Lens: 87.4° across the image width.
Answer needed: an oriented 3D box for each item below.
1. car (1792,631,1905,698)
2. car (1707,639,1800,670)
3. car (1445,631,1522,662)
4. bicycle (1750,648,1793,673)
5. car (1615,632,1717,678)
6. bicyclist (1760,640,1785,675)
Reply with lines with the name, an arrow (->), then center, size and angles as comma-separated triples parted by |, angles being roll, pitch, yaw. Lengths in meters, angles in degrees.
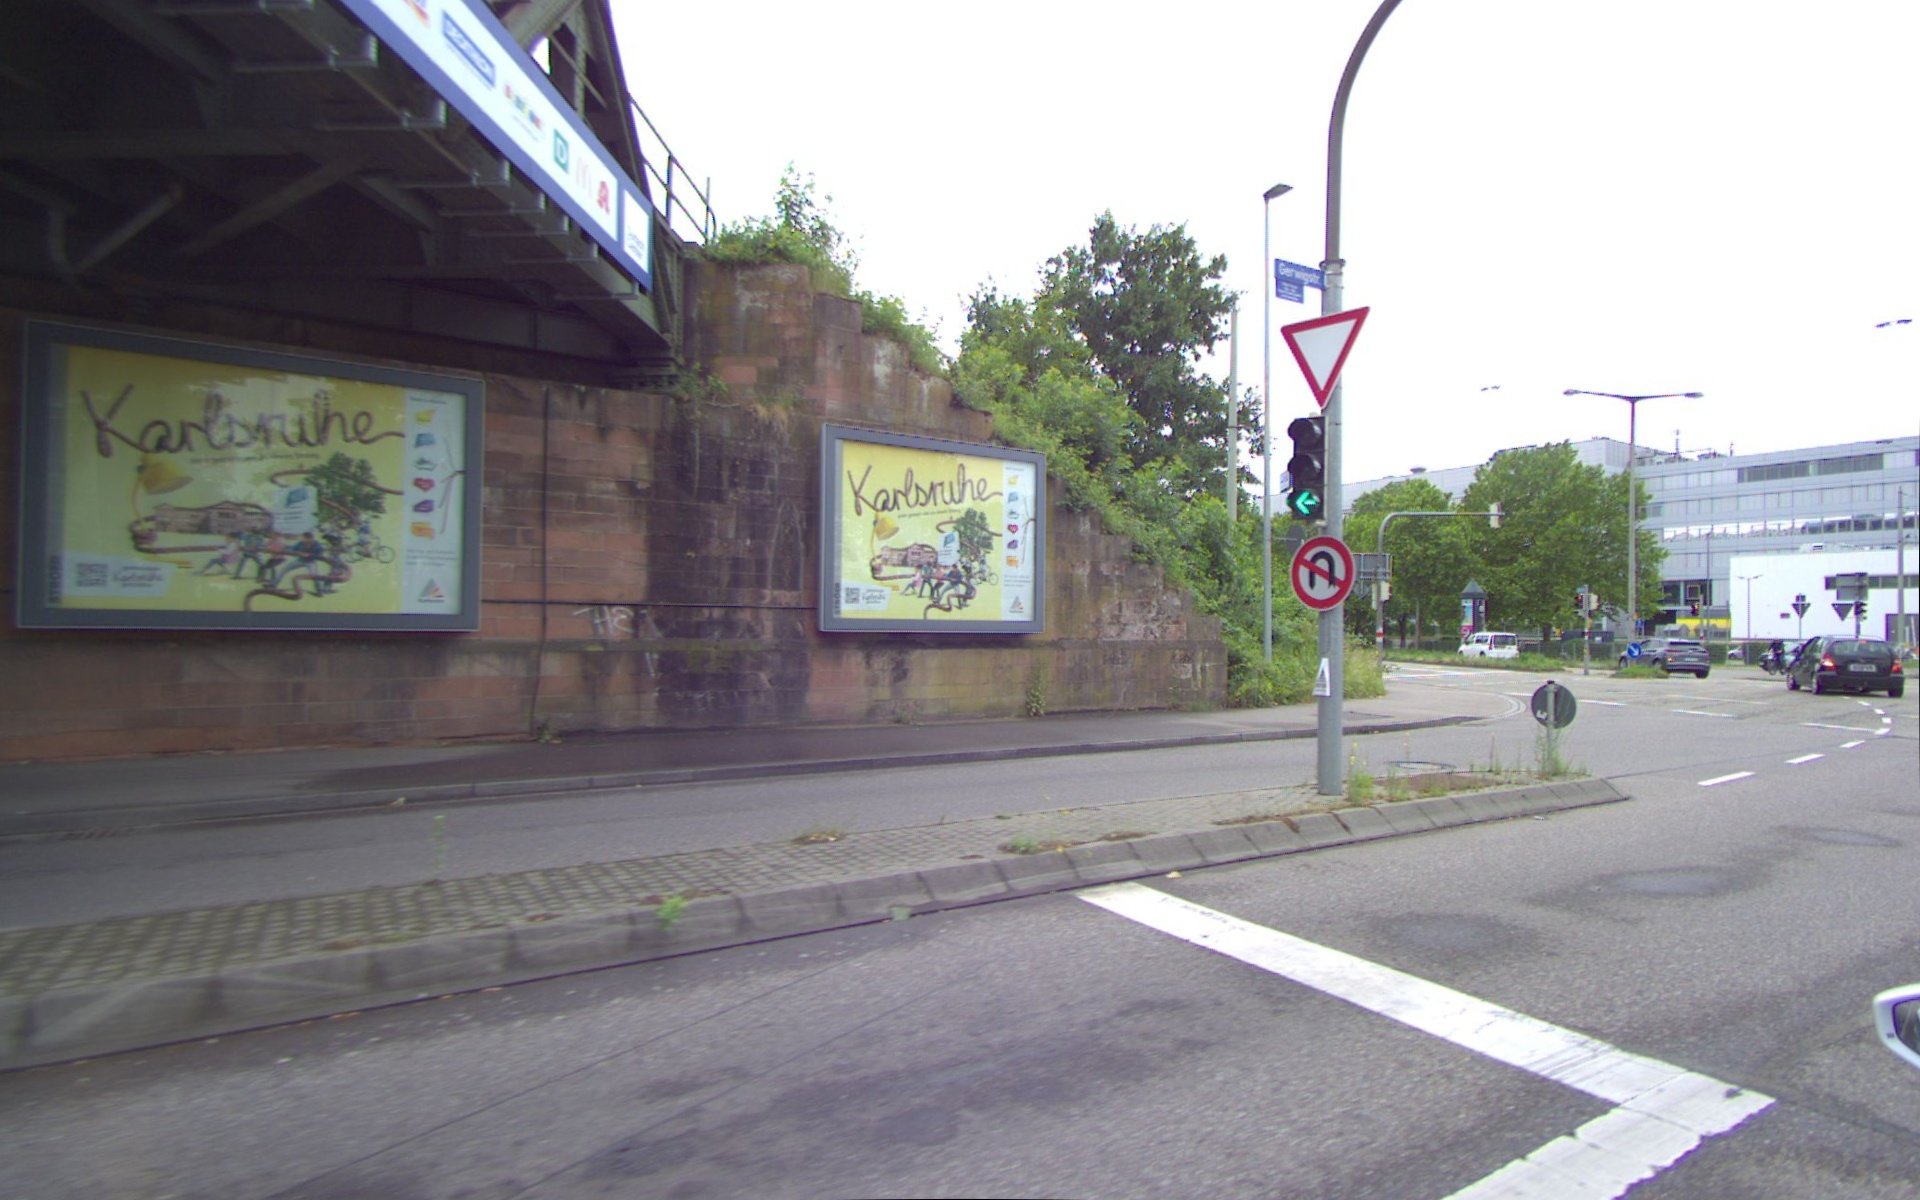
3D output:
car -> 23.737, 1.664, 26.958 | 1.744, 1.548, 3.659 | 1, 0, 33
car -> 42.877, 2.939, 54.382 | 1.744, 1.548, 3.660 | 1, -2, -14
car -> 30.425, 2.673, 58.544 | 1.929, 1.548, 5.011 | 1, 0, 1
bicycle -> 36.489, 2.729, 45.152 | 1.973, 1.076, 0.644 | 1, 0, -24
car -> 28.914, 2.228, 41.262 | 1.743, 1.674, 3.670 | 1, 0, 3
bicyclist -> 36.526, 2.569, 45.158 | 0.617, 1.538, 0.644 | 1, 1, -23
